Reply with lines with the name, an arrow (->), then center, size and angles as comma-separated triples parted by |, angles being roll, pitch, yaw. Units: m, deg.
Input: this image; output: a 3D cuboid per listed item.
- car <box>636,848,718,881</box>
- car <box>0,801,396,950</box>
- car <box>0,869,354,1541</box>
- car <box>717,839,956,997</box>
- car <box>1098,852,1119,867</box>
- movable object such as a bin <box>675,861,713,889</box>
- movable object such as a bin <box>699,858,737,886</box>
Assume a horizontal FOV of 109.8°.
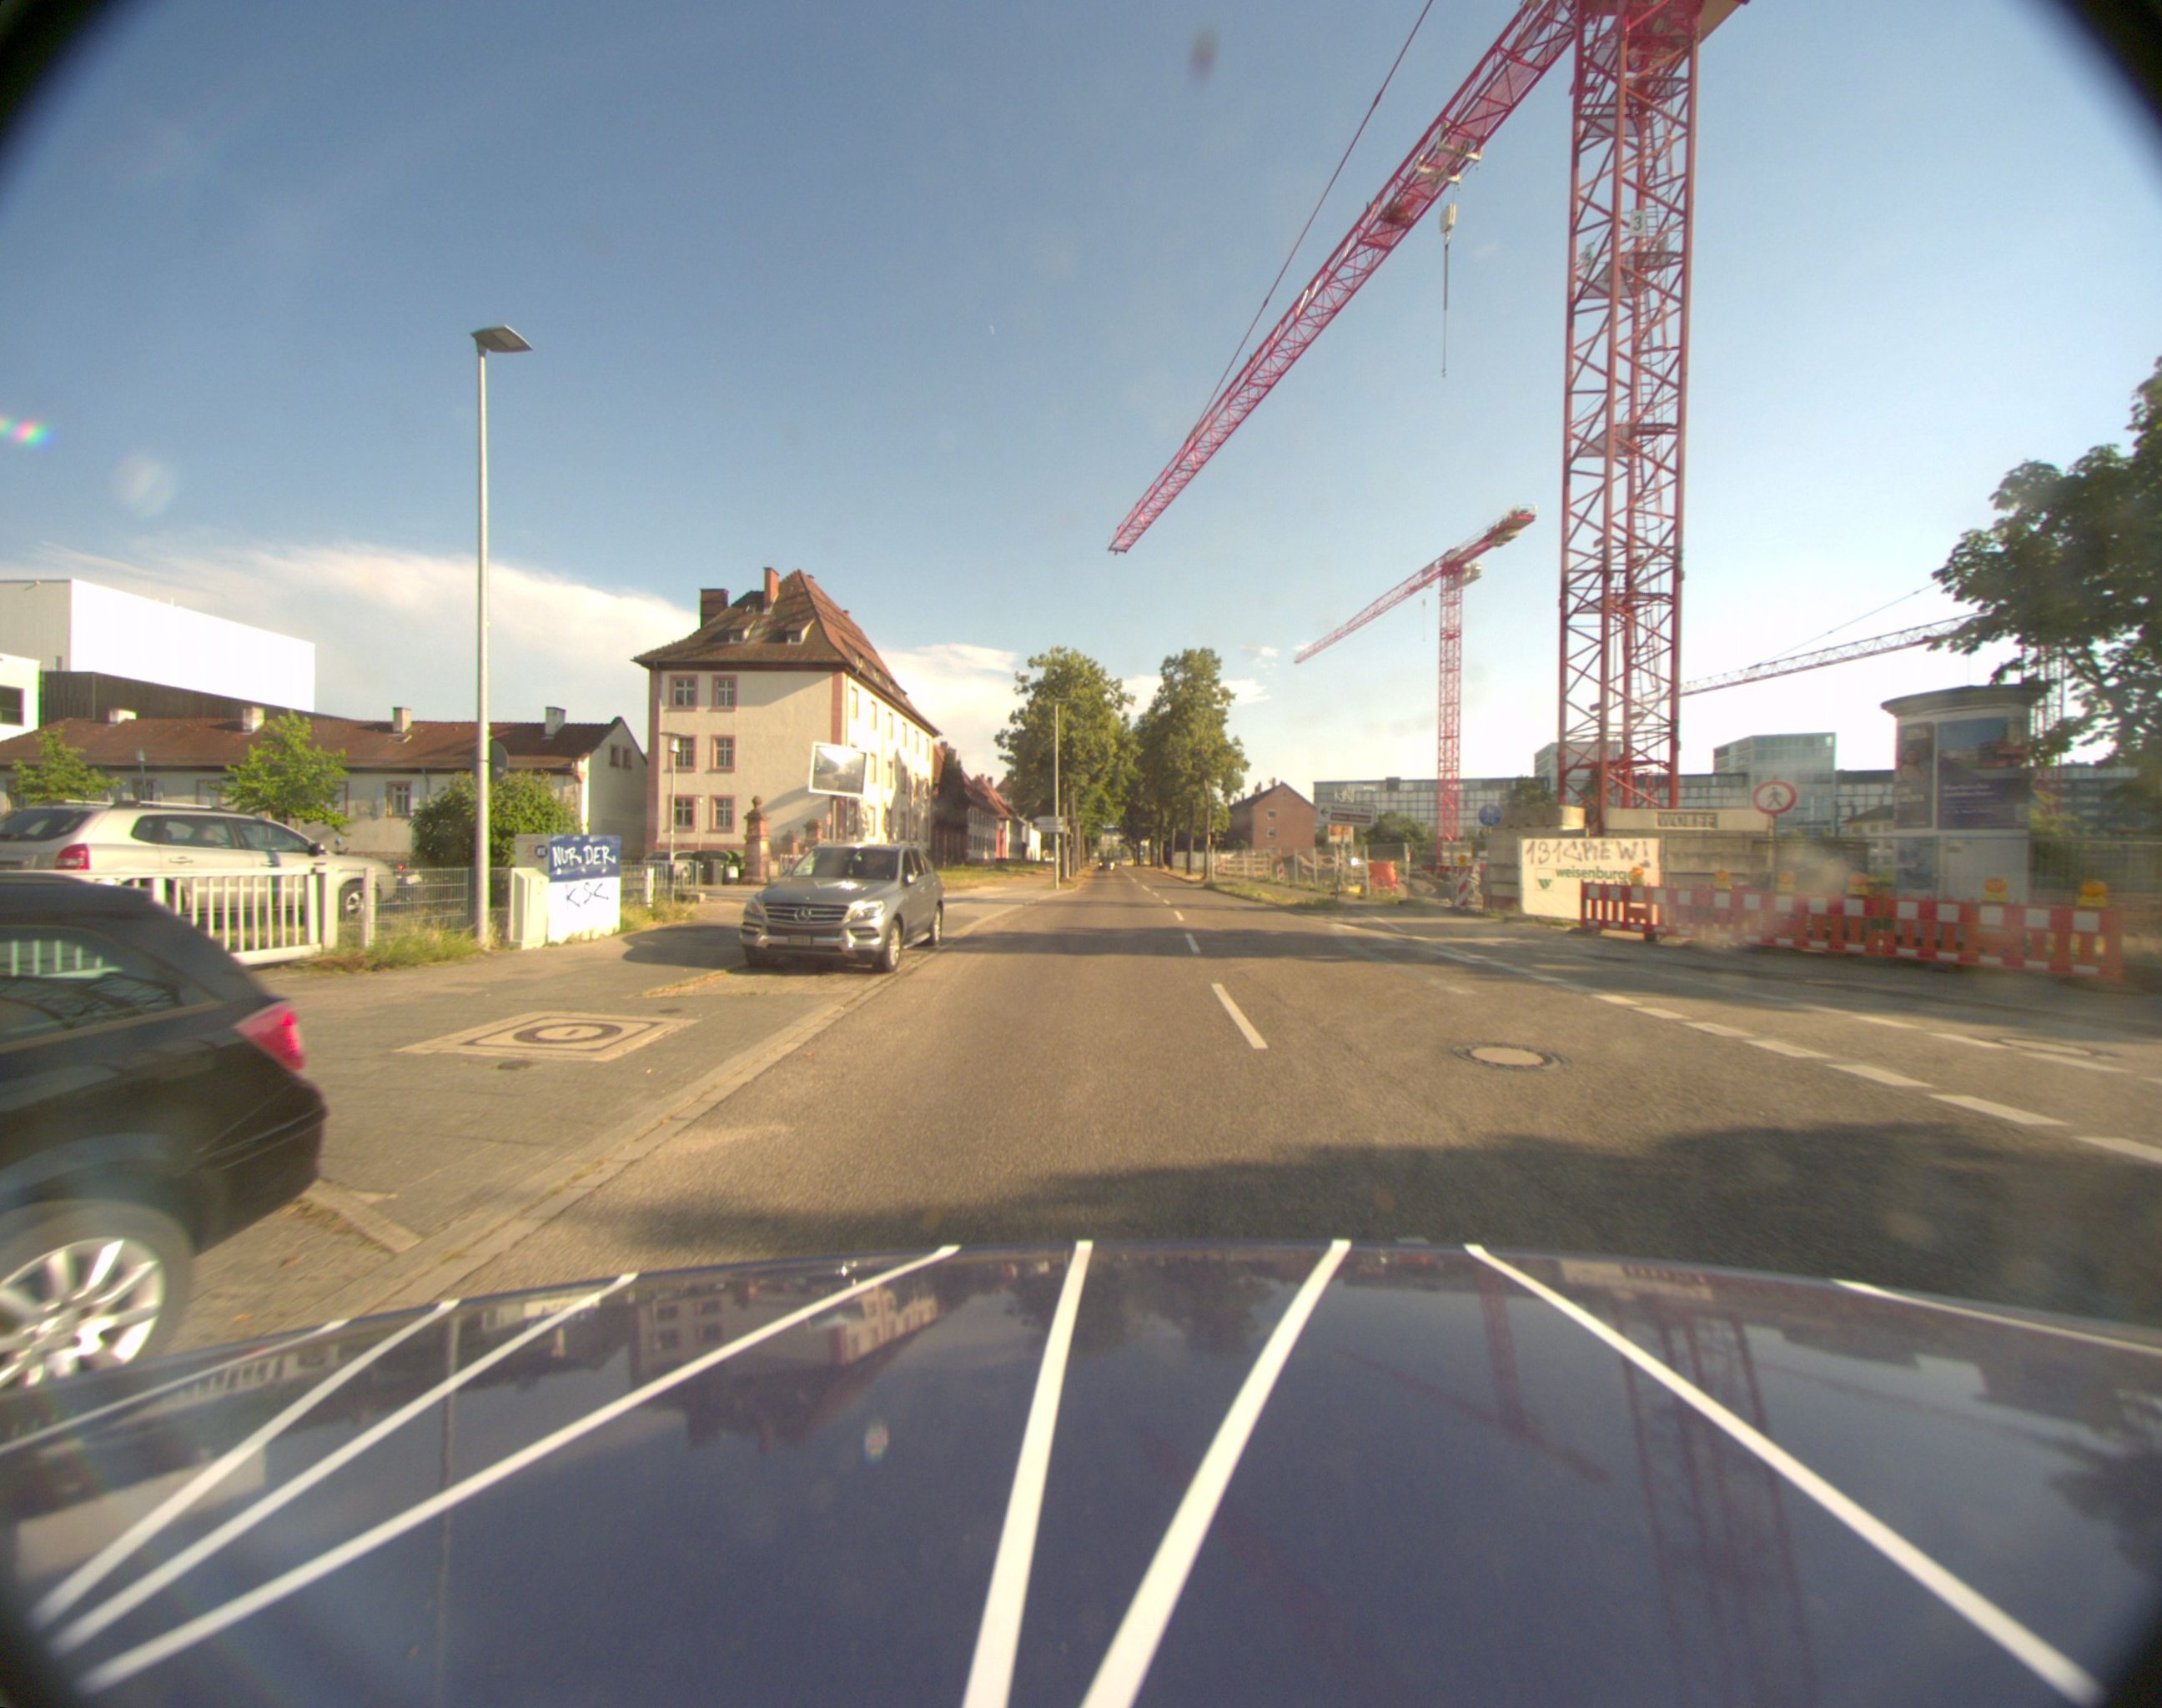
car -> -19.451, 0.478, 36.765 | 1.796, 1.445, 3.999 | -1, 1, 0
car -> -12.142, 0.218, 10.502 | 1.657, 1.652, 3.999 | -1, 1, 0
car -> -3.435, 0.865, 0.435 | 1.746, 1.532, 4.439 | 2, 1, 1
car -> -3.324, 0.729, 11.490 | 1.926, 1.769, 4.809 | 4, 1, 0
car -> 2.899, 0.604, 80.113 | 1.776, 1.492, 3.672 | 0, 0, -5
movable object such as a bin -> -15.710, 0.833, 30.851 | 0.985, 1.085, 0.939 | -1, 1, 12
movable object such as a bin -> -14.638, 0.721, 30.631 | 0.985, 1.085, 0.939 | -1, 1, 12
